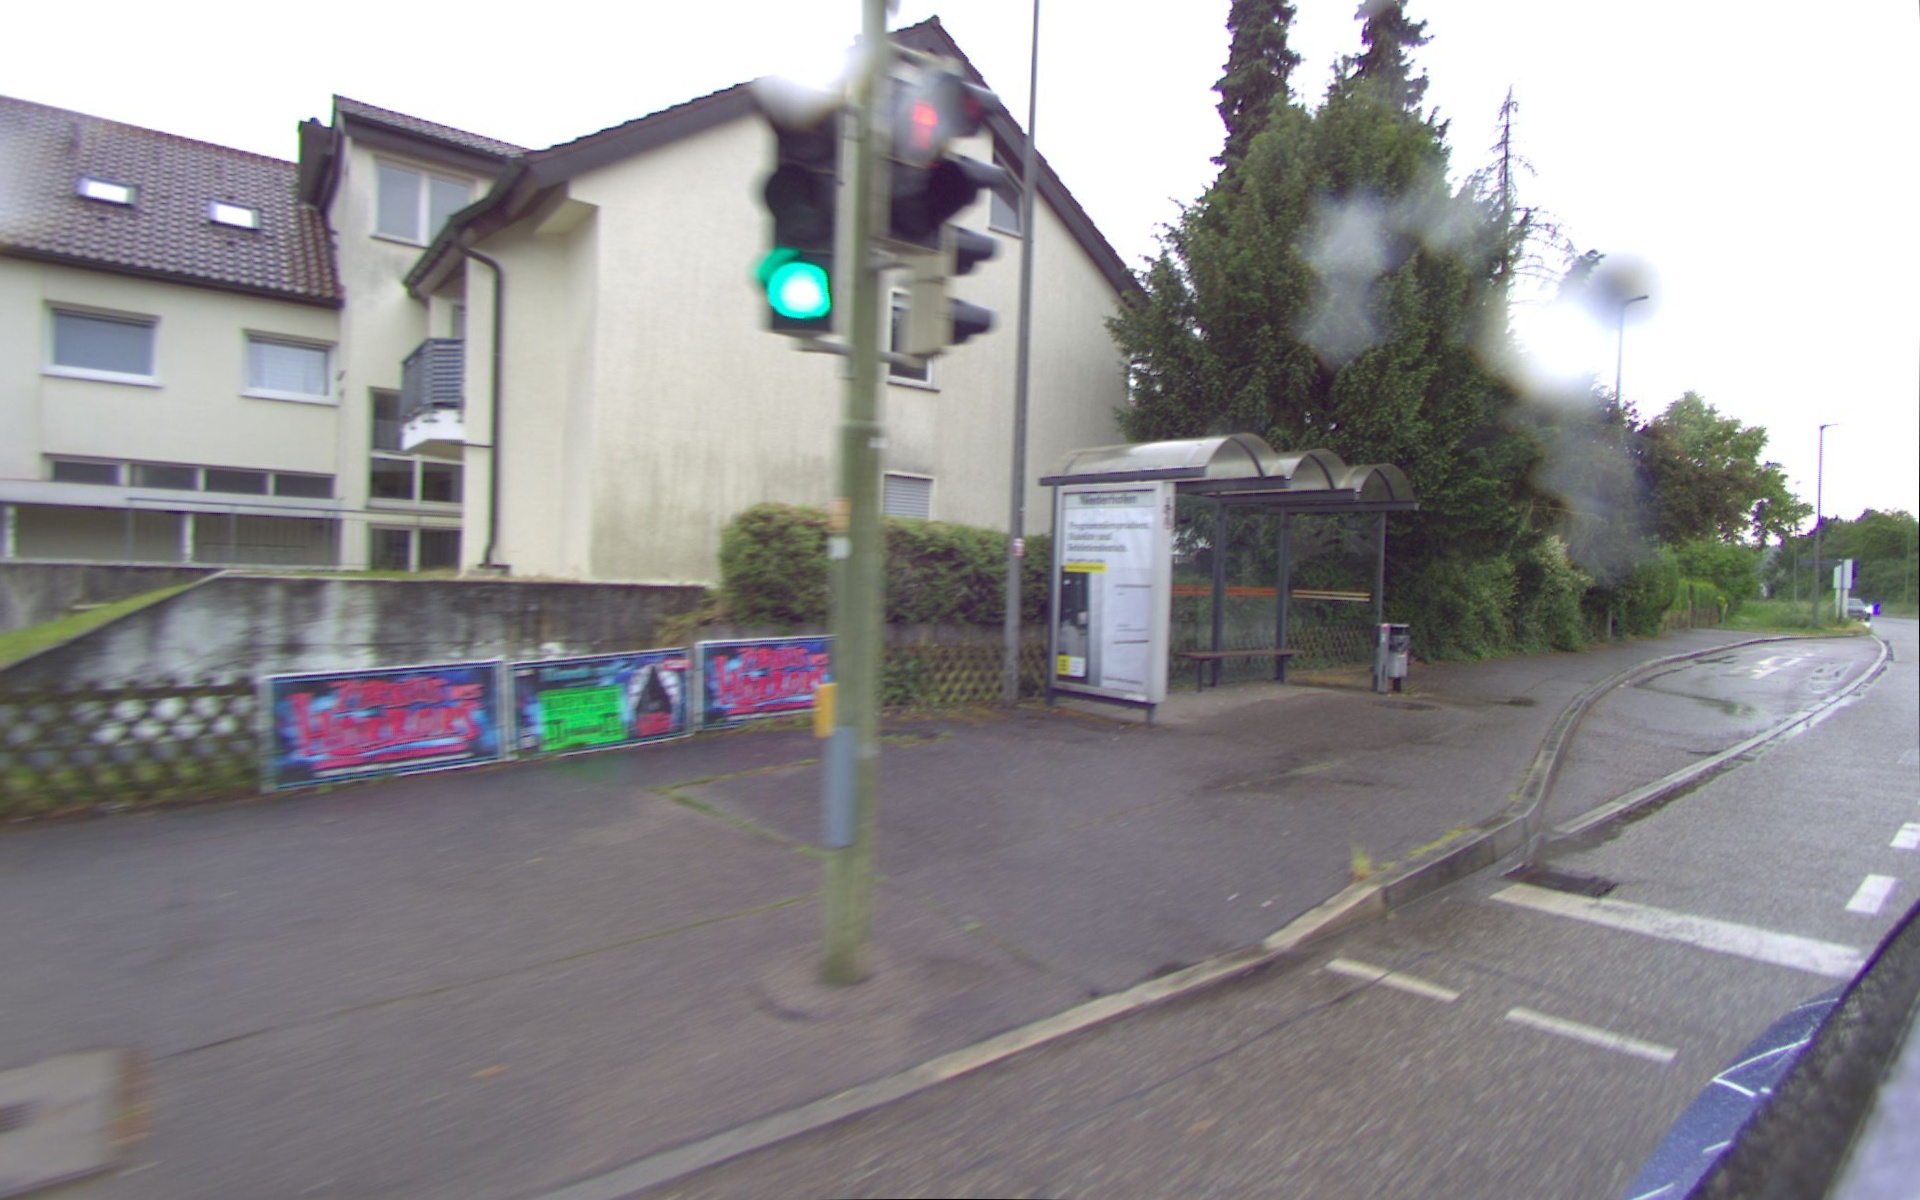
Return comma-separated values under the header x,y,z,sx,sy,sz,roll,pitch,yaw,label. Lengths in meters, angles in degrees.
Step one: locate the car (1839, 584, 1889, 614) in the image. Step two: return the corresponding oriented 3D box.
x,y,z,sx,sy,sz,roll,pitch,yaw,label
60.776,-0.070,68.070,1.988,1.864,3.949,3,1,35,car
